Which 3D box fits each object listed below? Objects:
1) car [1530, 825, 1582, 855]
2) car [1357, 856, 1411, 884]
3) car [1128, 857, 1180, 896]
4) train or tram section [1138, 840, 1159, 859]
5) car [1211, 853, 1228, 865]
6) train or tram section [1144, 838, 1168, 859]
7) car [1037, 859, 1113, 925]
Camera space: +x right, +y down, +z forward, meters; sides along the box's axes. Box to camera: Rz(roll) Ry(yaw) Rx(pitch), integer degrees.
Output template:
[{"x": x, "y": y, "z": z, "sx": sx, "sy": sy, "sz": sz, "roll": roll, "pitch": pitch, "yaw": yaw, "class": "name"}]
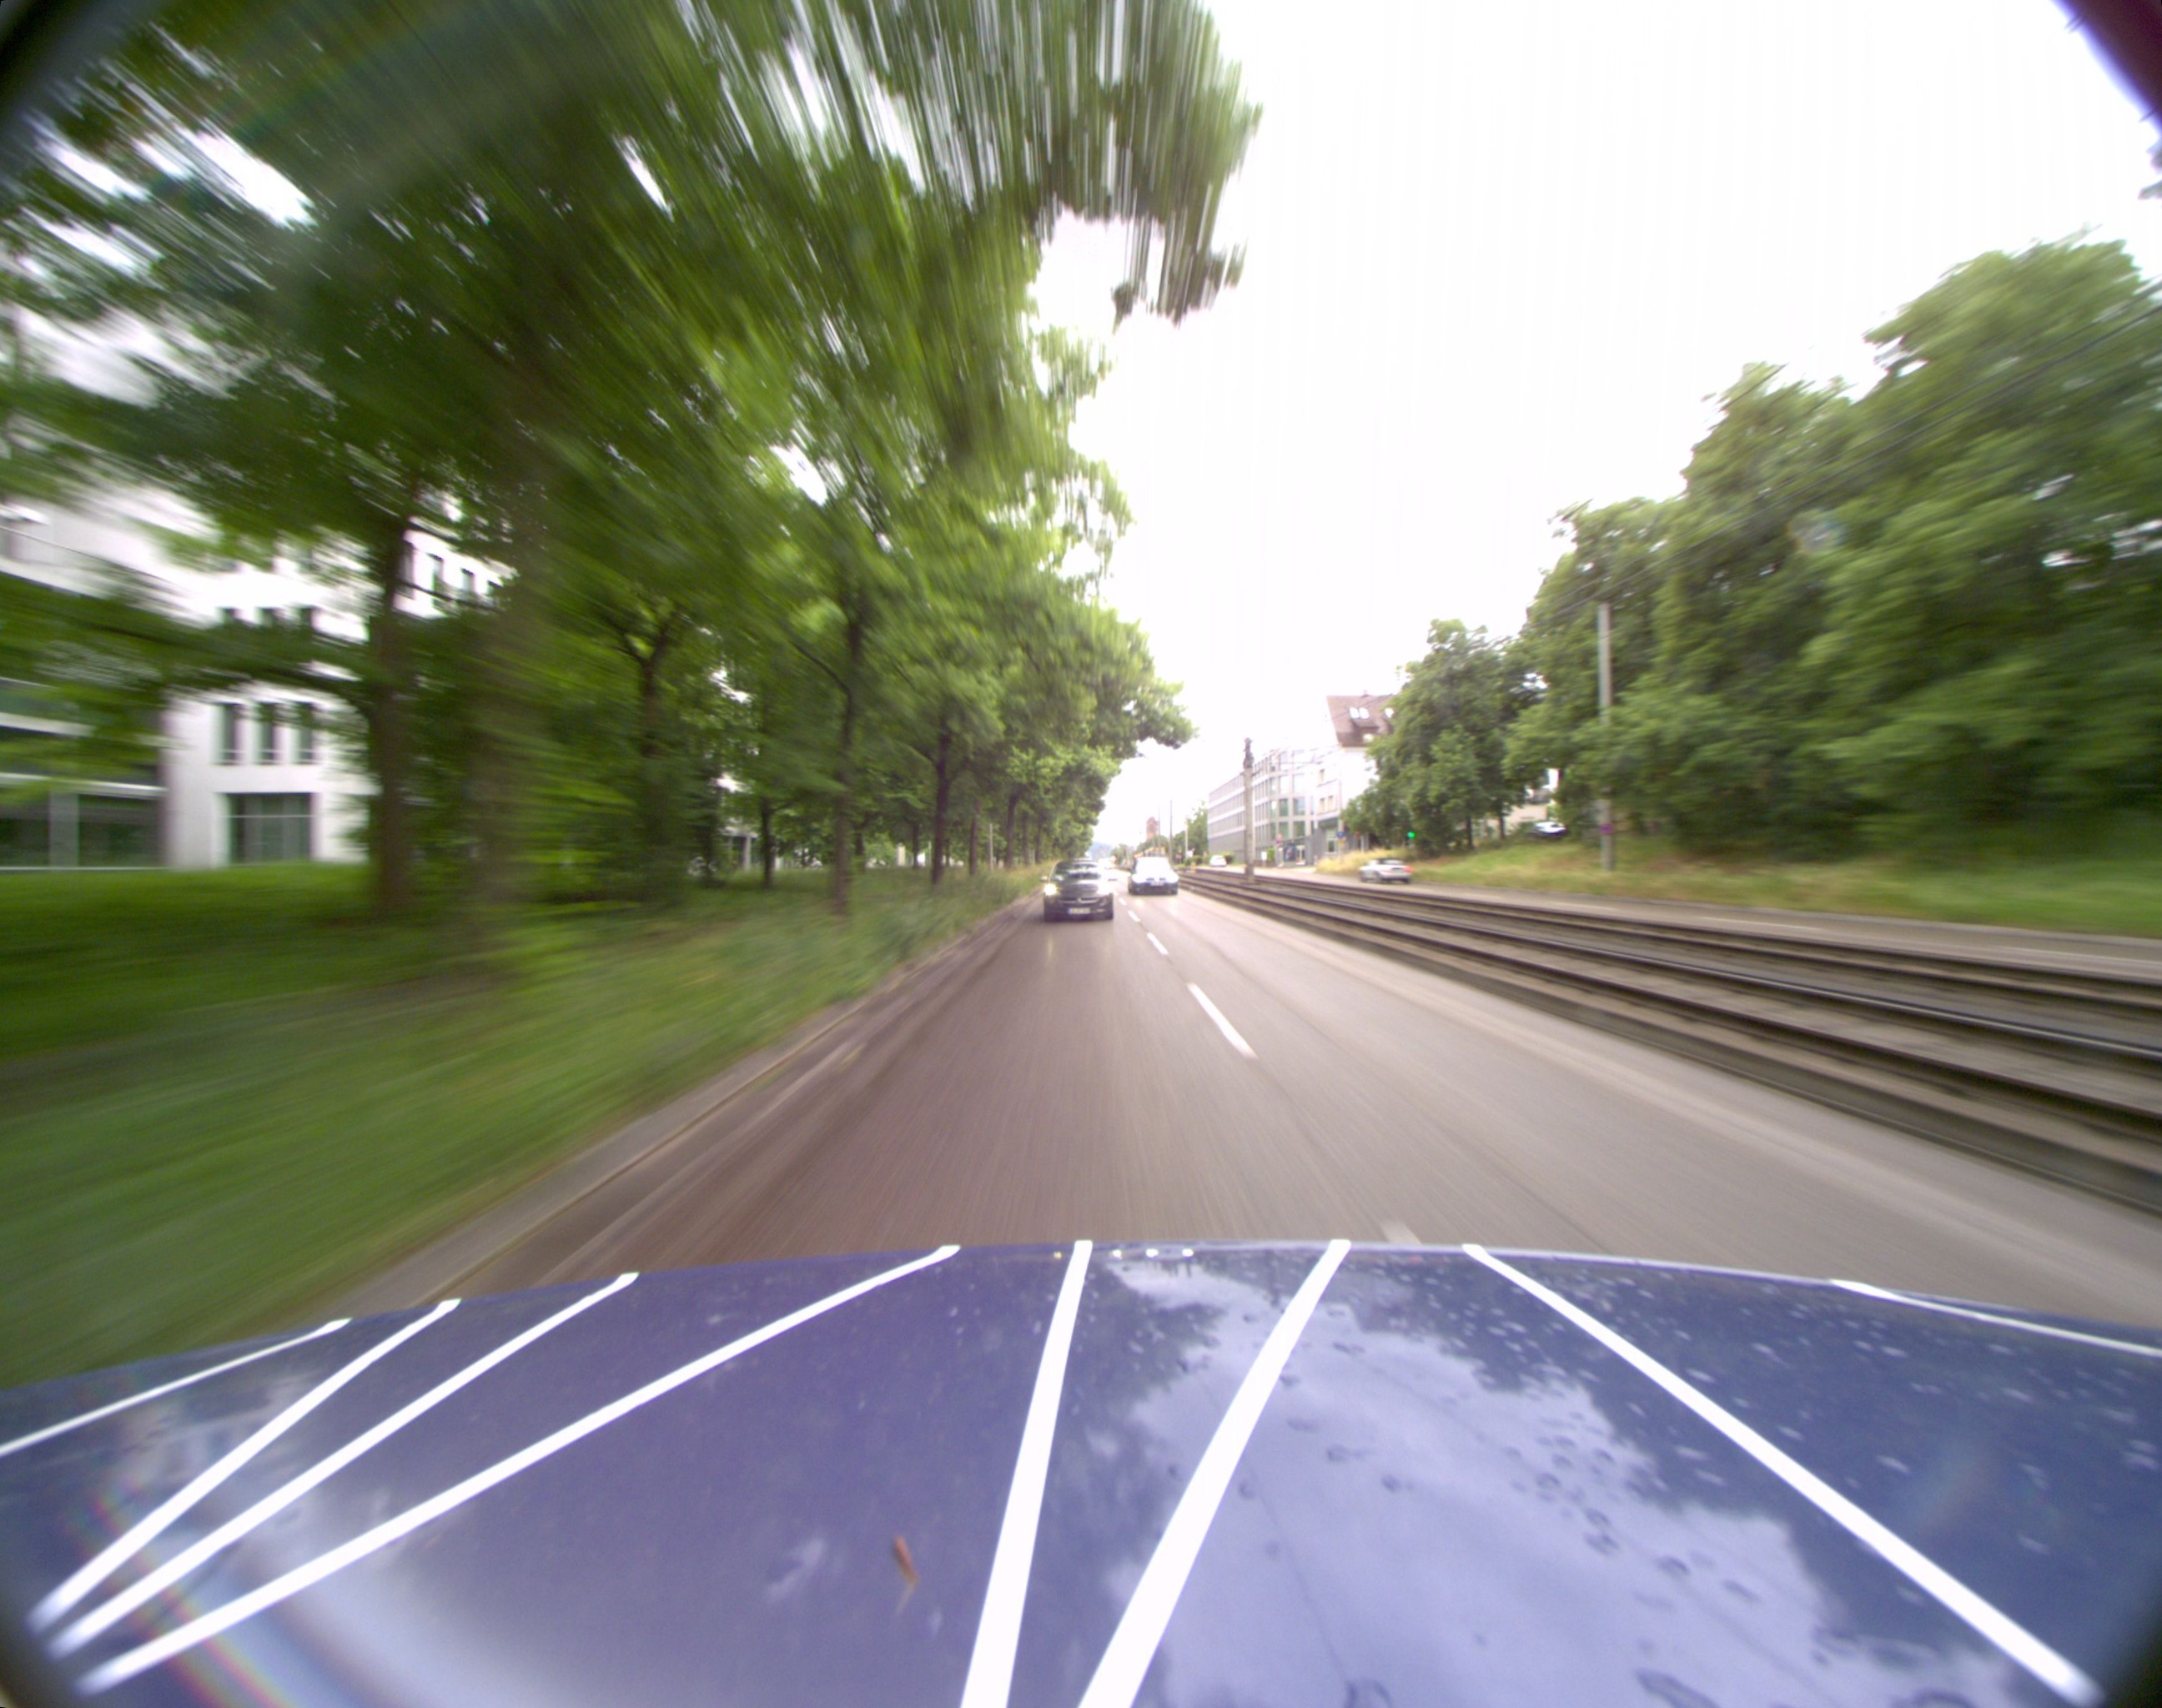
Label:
[{"x": 32.560, "y": -0.920, "z": 52.181, "sx": 1.963, "sy": 2.002, "sz": 4.222, "roll": -1, "pitch": 0, "yaw": 17, "class": "car"}, {"x": 16.750, "y": 0.830, "z": 42.146, "sx": 1.480, "sy": 1.427, "sz": 3.909, "roll": 1, "pitch": 0, "yaw": 1, "class": "car"}, {"x": 2.909, "y": 0.857, "z": 30.865, "sx": 1.770, "sy": 1.439, "sz": 3.833, "roll": -1, "pitch": 0, "yaw": 1, "class": "car"}, {"x": 14.528, "y": -0.839, "z": 165.061, "sx": 2.975, "sy": 3.788, "sz": 19.100, "roll": -1, "pitch": -1, "yaw": 1, "class": "train or tram section"}, {"x": 19.291, "y": 0.696, "z": 105.973, "sx": 1.657, "sy": 1.520, "sz": 4.381, "roll": -1, "pitch": 0, "yaw": 1, "class": "car"}, {"x": 14.209, "y": -0.930, "z": 145.747, "sx": 2.975, "sy": 3.788, "sz": 19.522, "roll": -1, "pitch": -1, "yaw": 1, "class": "train or tram section"}, {"x": -0.072, "y": 0.901, "z": 19.946, "sx": 1.698, "sy": 1.439, "sz": 4.420, "roll": -2, "pitch": 0, "yaw": 2, "class": "car"}]
